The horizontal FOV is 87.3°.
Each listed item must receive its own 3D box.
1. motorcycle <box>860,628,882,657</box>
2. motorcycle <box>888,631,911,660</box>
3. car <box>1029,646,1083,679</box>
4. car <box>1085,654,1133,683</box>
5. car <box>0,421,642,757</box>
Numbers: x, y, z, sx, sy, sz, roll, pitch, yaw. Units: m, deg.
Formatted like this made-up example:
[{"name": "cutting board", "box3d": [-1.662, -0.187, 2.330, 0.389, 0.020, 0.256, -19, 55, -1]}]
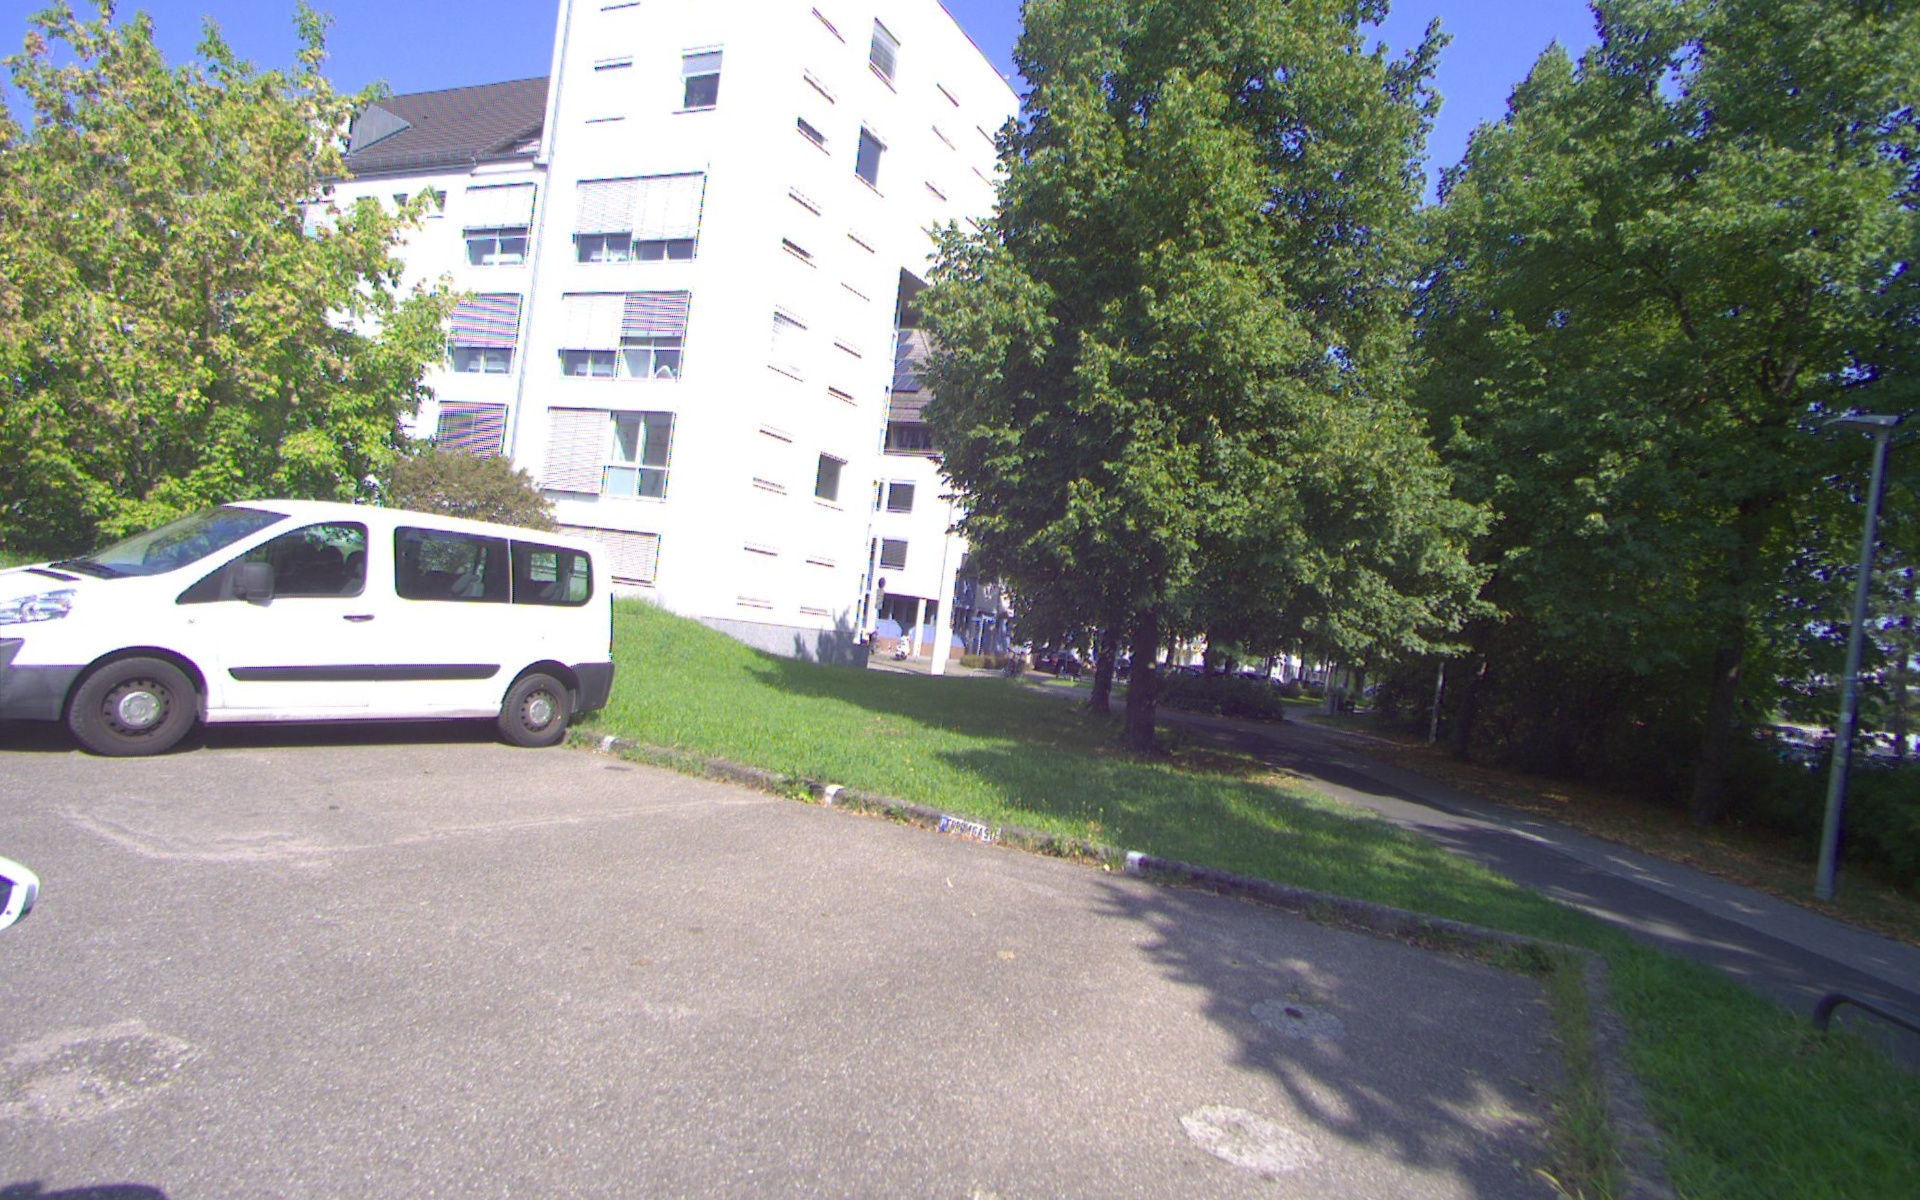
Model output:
[{"name": "motorcycle", "box3d": [-4.302, 2.027, 48.857, 0.695, 1.279, 2.762, 8, -1, -1]}, {"name": "motorcycle", "box3d": [-2.925, 2.207, 48.782, 0.695, 1.279, 2.764, 8, -1, 2]}, {"name": "car", "box3d": [5.800, 3.783, 60.366, 1.735, 1.618, 3.999, 7, -2, 27]}, {"name": "car", "box3d": [10.128, 4.663, 68.125, 1.736, 1.618, 3.996, 6, -2, 30]}, {"name": "car", "box3d": [-5.332, 0.098, 8.182, 2.010, 1.942, 4.968, 6, -3, 32]}]
